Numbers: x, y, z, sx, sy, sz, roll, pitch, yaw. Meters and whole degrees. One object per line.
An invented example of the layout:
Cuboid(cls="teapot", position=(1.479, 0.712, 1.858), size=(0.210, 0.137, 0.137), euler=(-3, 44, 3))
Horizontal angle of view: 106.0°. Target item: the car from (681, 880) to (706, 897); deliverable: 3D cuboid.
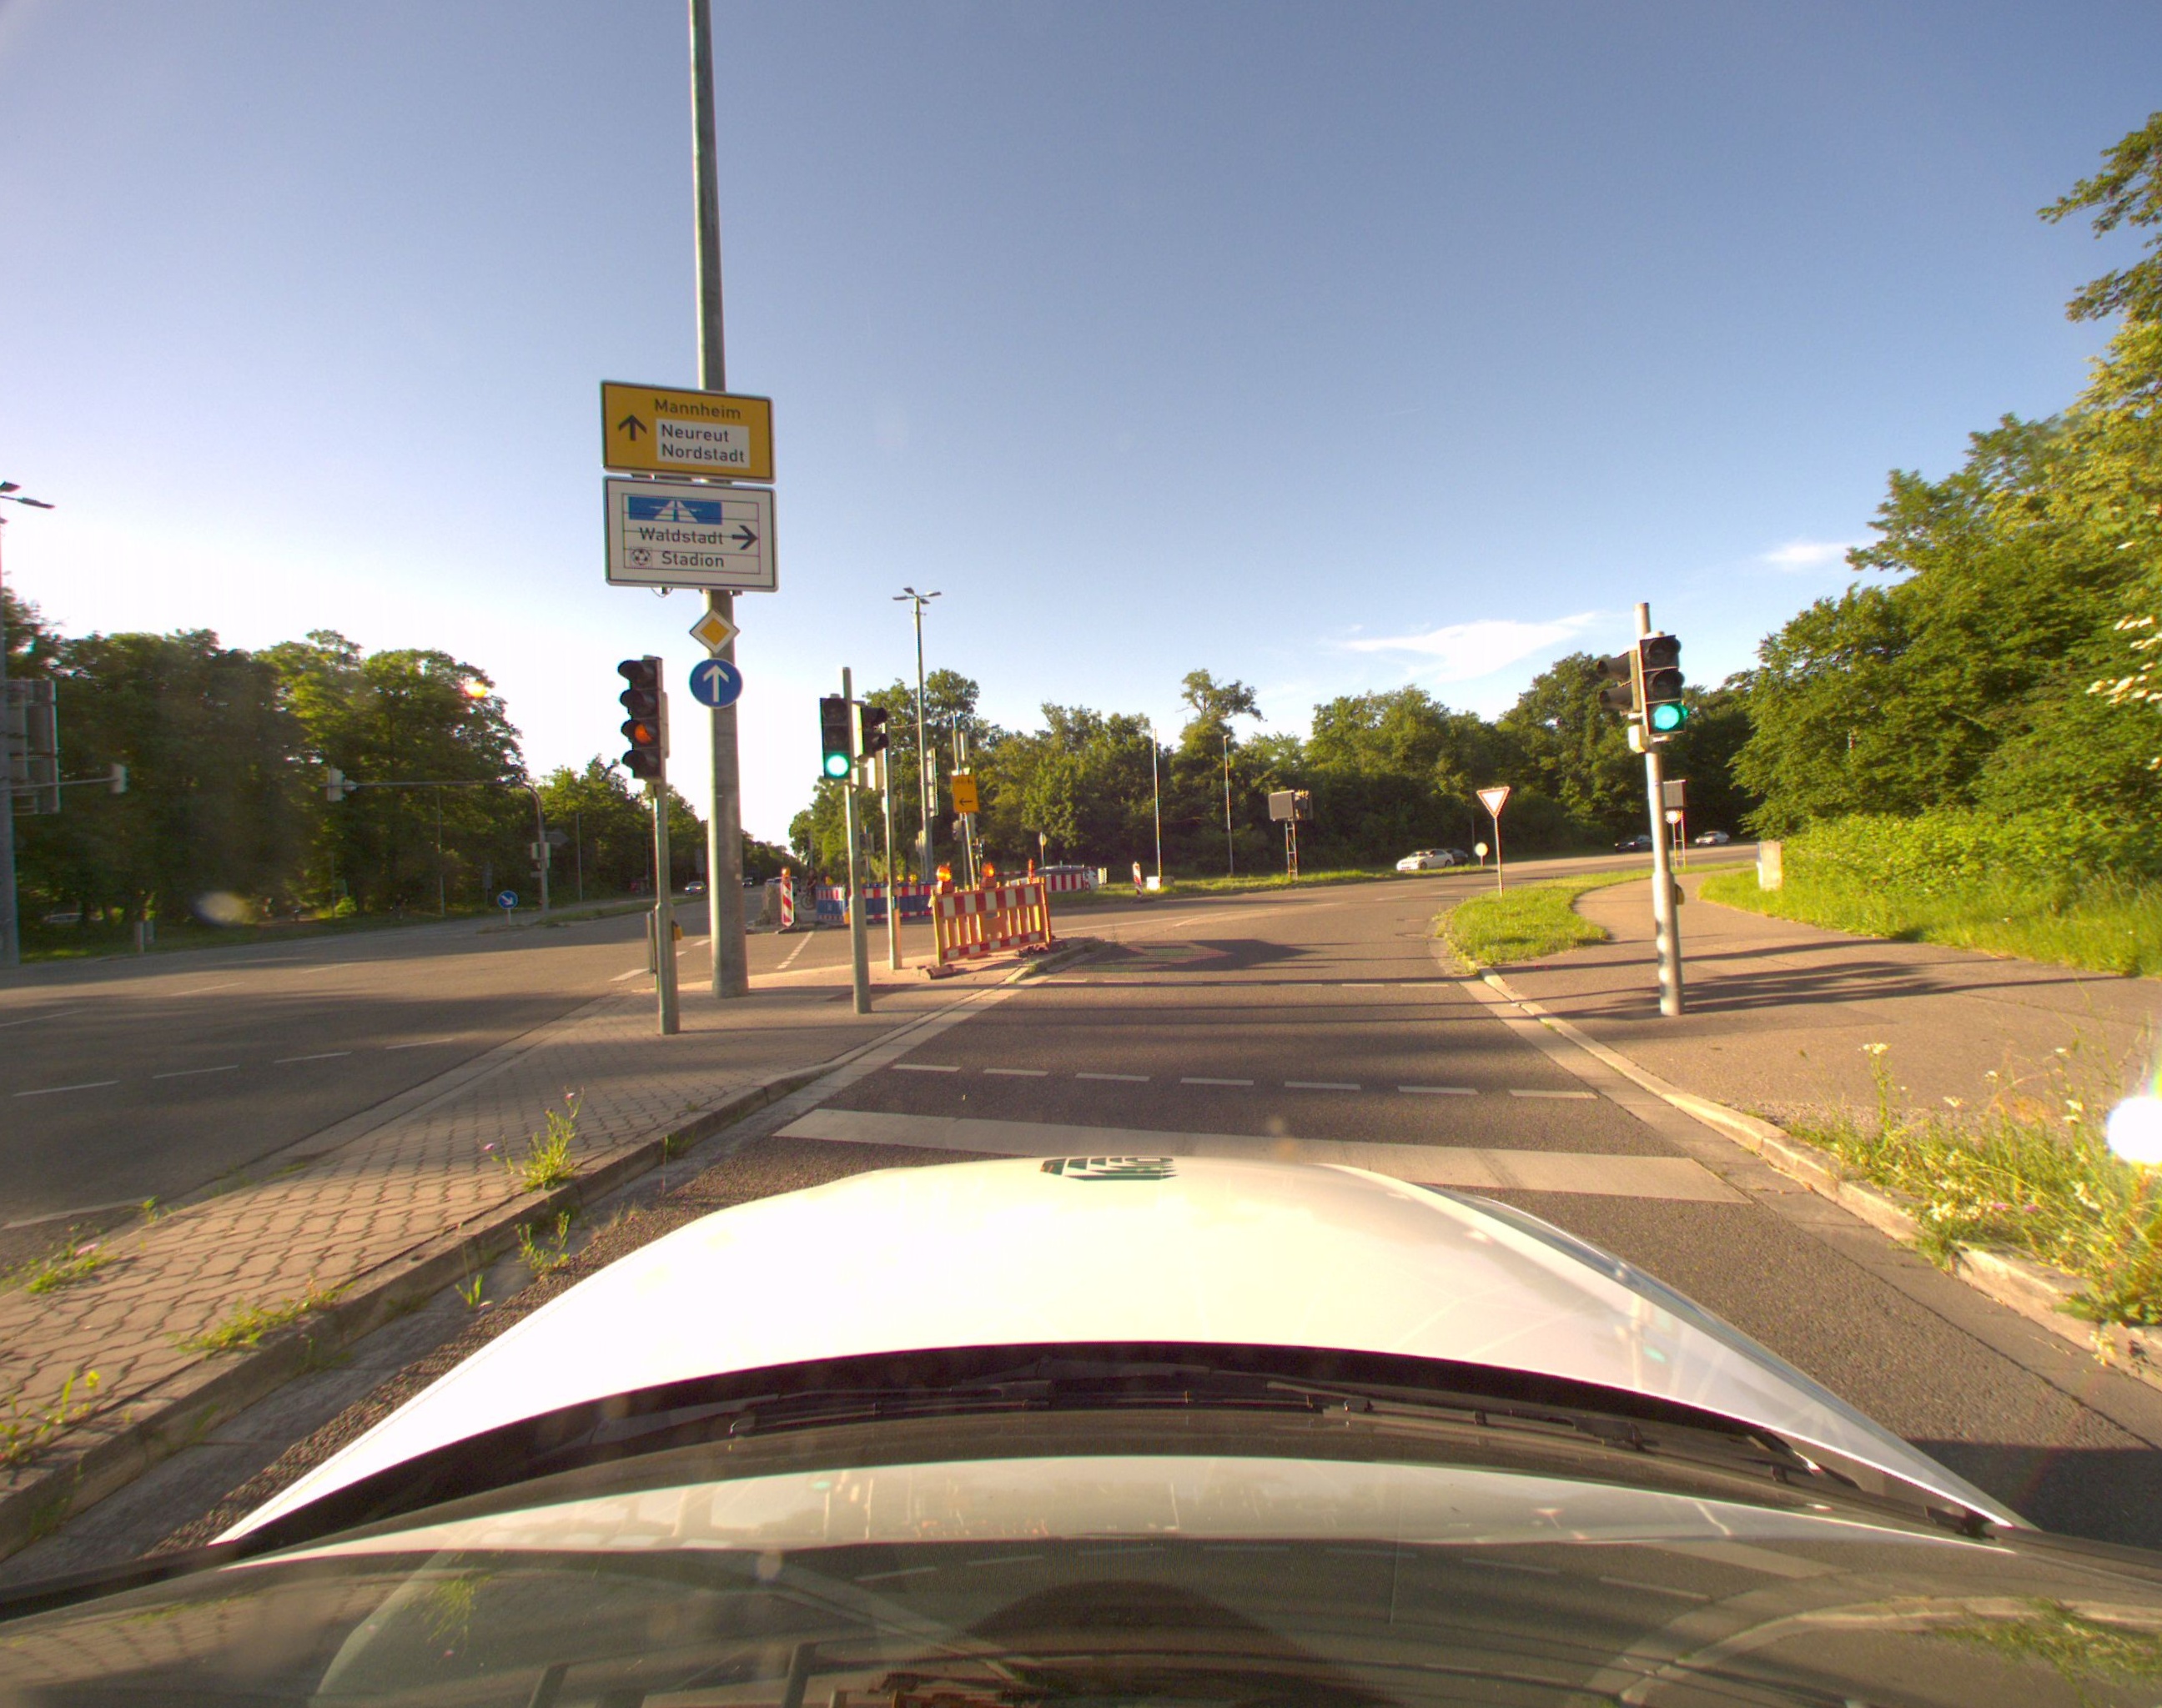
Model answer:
Cuboid(cls="car", position=(-46.191, 4.064, 97.033), size=(1.998, 1.789, 4.224), euler=(-3, -1, -17))

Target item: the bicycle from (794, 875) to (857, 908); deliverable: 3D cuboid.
Cuboid(cls="bicycle", position=(-11.950, 1.736, 38.126), size=(0.956, 1.383, 2.656), euler=(-3, -1, 43))

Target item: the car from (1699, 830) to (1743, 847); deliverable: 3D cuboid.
Cuboid(cls="car", position=(66.363, -1.632, 84.452), size=(4.666, 1.529, 1.980), euler=(-3, -1, -30))

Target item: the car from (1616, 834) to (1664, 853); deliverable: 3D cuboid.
Cuboid(cls="car", position=(52.651, -1.004, 76.732), size=(4.668, 1.529, 1.980), euler=(-2, -1, -32))

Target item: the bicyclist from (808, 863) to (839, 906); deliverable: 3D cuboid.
Cuboid(cls="bicyclist", position=(-12.031, 1.429, 38.064), size=(0.956, 1.930, 1.022), euler=(-3, -1, 43))

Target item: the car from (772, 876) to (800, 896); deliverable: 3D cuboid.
Cuboid(cls="car", position=(-22.777, 2.446, 62.988), size=(1.946, 1.414, 3.974), euler=(-3, -1, -19))

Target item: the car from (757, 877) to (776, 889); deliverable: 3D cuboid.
Cuboid(cls="car", position=(-41.022, 3.828, 106.262), size=(1.867, 1.444, 3.979), euler=(-2, -1, -15))

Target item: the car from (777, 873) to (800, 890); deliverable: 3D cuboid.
Cuboid(cls="car", position=(-28.540, 2.696, 79.436), size=(2.000, 1.536, 3.974), euler=(-3, -1, -19))

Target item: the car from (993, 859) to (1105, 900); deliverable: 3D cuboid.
Cuboid(cls="car", position=(-1.434, 1.158, 37.476), size=(4.856, 1.580, 1.977), euler=(-2, -1, -37))

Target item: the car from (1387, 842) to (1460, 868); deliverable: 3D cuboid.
Cuboid(cls="car", position=(22.886, 0.057, 54.359), size=(4.824, 1.436, 1.980), euler=(-2, -1, -32))

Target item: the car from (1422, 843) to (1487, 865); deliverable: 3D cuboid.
Cuboid(cls="car", position=(27.702, -0.010, 60.355), size=(4.824, 1.436, 1.980), euler=(-2, -1, -32))
